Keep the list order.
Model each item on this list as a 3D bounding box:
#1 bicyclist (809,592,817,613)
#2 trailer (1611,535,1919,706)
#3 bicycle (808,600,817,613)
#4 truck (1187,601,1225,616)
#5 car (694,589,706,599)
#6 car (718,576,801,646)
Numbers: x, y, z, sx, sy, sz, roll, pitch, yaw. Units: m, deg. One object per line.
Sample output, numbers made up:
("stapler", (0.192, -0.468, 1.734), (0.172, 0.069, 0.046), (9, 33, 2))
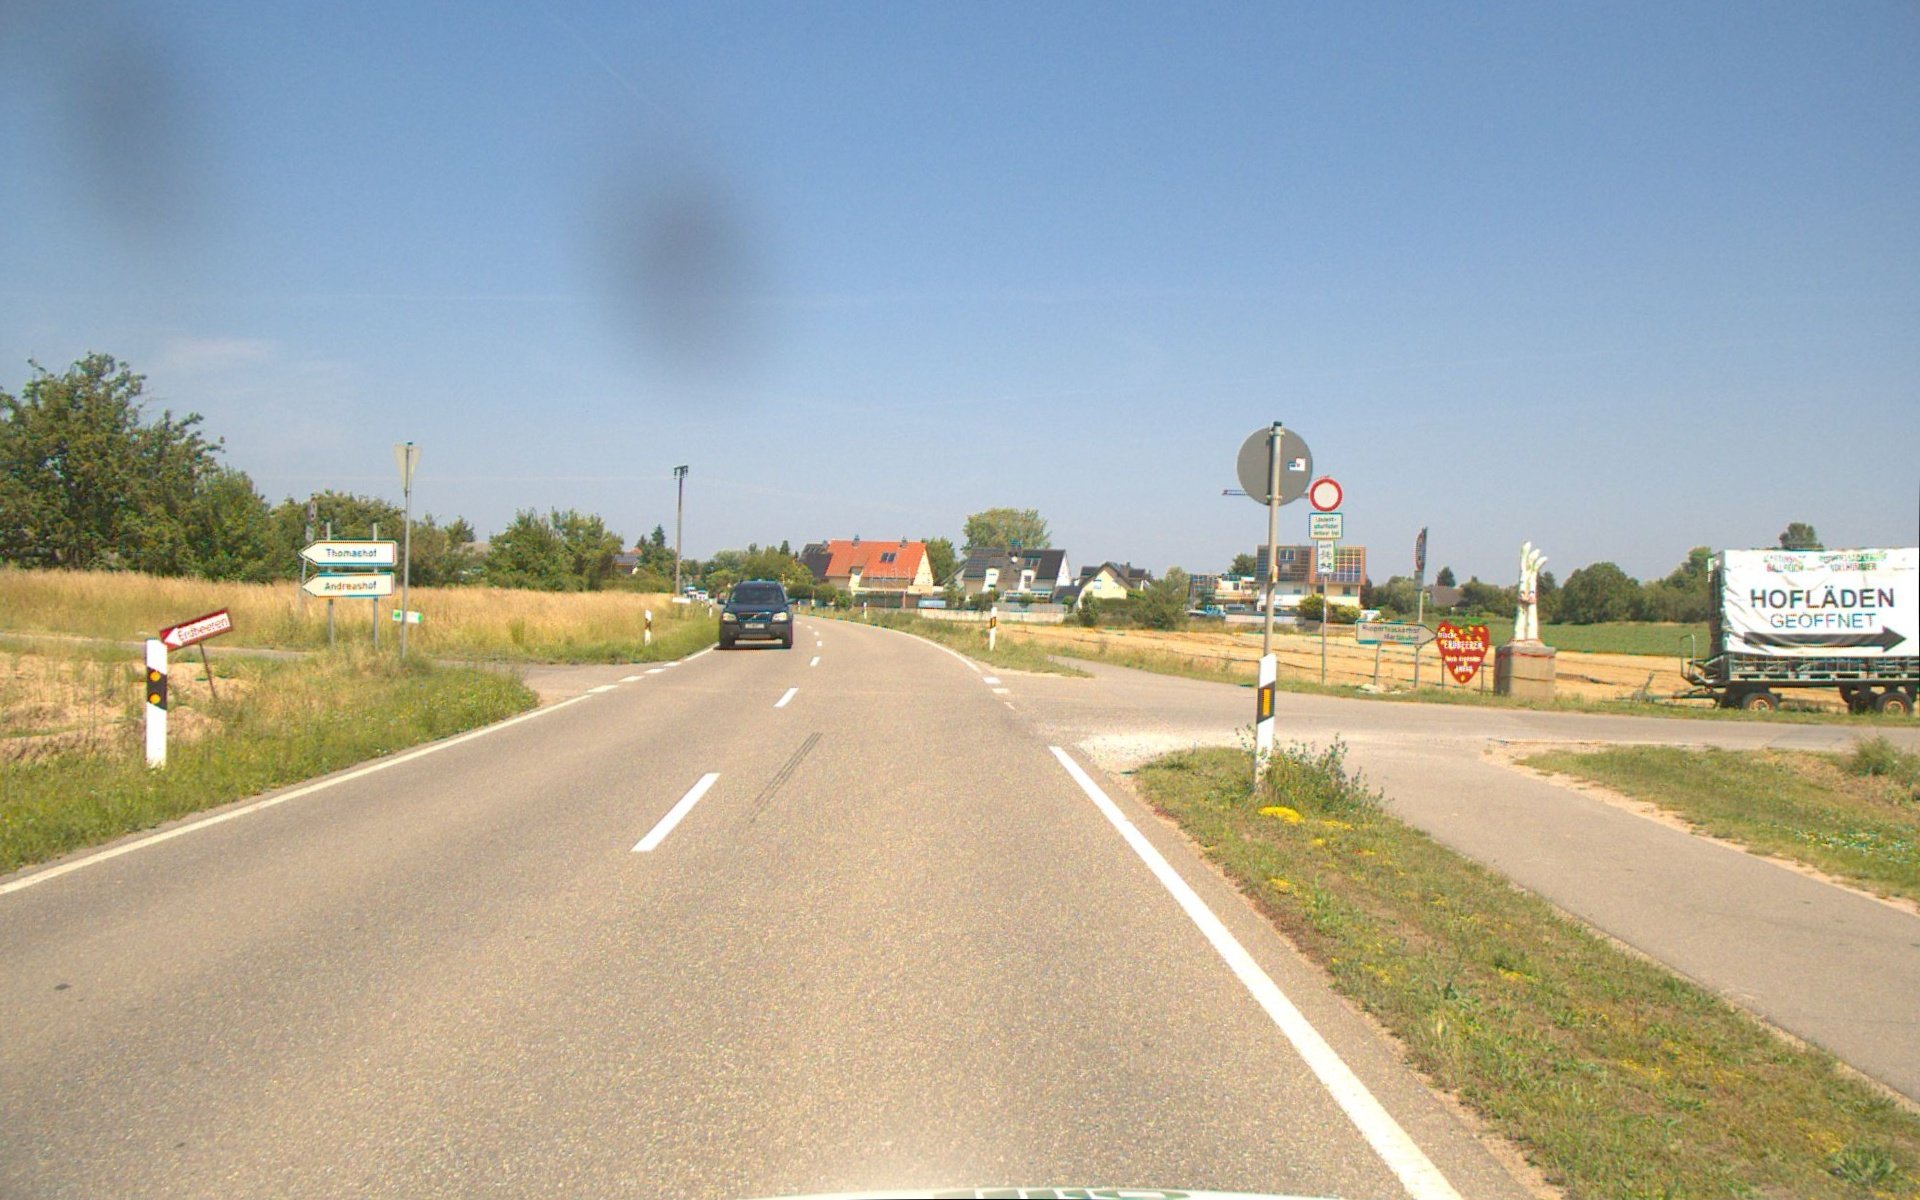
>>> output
("bicyclist", (-14.097, 0.234, 158.453), (0.633, 1.922, 0.858), (3, 0, -11))
("trailer", (15.056, 0.373, 30.760), (5.165, 3.004, 2.001), (1, -2, 10))
("bicycle", (-14.149, 0.618, 158.653), (0.599, 1.179, 2.268), (3, 1, -11))
("truck", (37.452, 1.256, 251.528), (5.435, 2.269, 2.216), (1, 0, 14))
("car", (-40.199, -0.954, 255.842), (1.759, 1.434, 4.175), (1, 0, -10))
("car", (-5.330, 0.263, 44.506), (1.895, 1.782, 5.200), (0, 0, -4))
